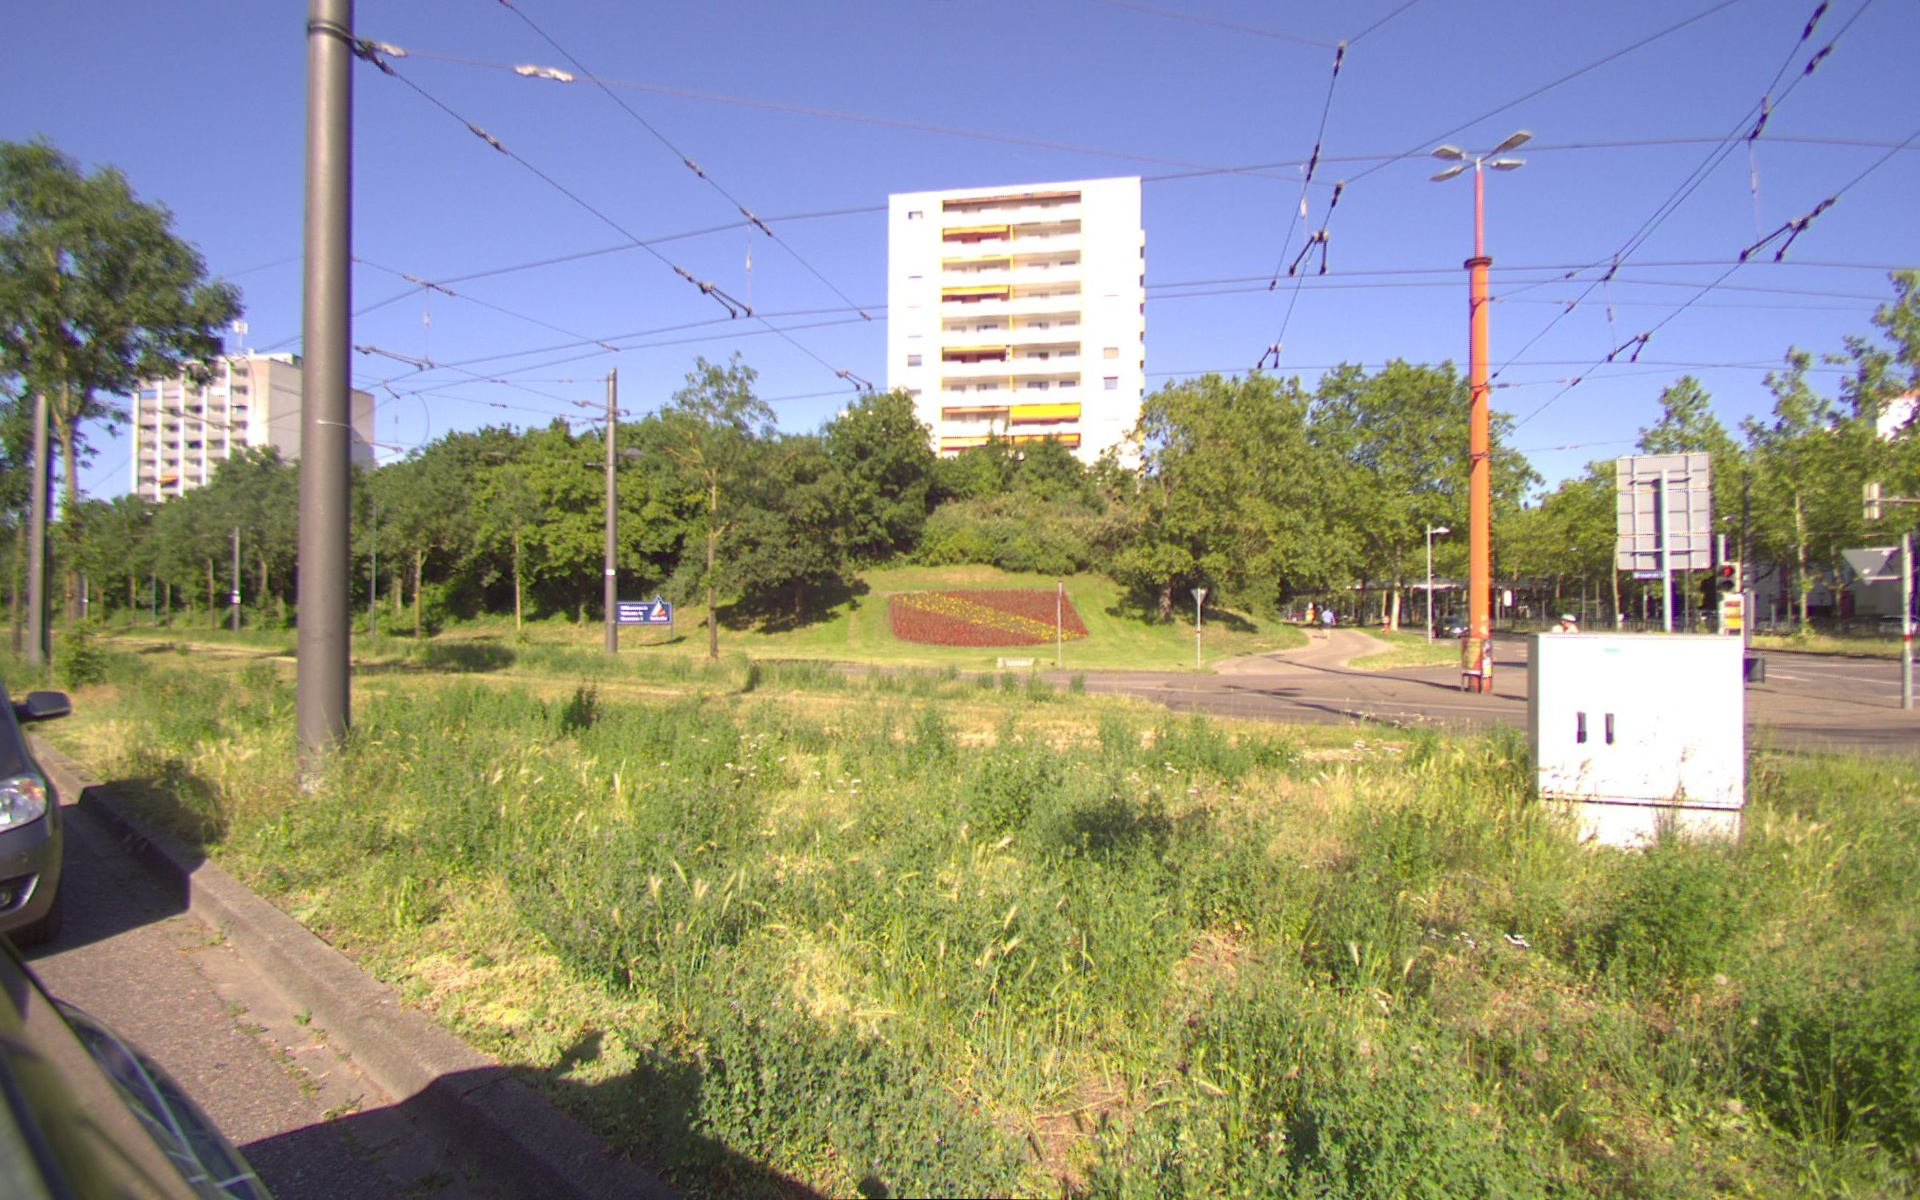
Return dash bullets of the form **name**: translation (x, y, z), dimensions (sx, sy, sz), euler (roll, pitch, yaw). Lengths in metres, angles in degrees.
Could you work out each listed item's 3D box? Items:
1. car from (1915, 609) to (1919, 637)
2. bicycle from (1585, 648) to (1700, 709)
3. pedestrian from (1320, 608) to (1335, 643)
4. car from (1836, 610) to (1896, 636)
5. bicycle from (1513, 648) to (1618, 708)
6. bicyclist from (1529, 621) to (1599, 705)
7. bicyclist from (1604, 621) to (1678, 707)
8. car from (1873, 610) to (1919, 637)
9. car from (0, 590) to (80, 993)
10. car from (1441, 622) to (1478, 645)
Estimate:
- **car**: translation (64.418, 1.498, 65.892), dimensions (3.931, 1.829, 2.006), euler (0, -2, -27)
- **bicycle**: translation (13.367, 1.516, 19.908), dimensions (0.915, 1.095, 1.888), euler (0, -1, -2)
- **pedestrian**: translation (20.678, 1.413, 56.922), dimensions (0.729, 1.949, 0.726), euler (-1, -2, 24)
- **car**: translation (66.029, 1.692, 73.751), dimensions (3.931, 1.829, 2.006), euler (0, -2, -27)
- **bicycle**: translation (12.102, 1.531, 20.310), dimensions (0.915, 1.095, 1.888), euler (0, -1, -2)
- **bicyclist**: translation (12.106, 1.253, 20.293), dimensions (0.920, 1.650, 0.741), euler (0, -1, -1)
- **bicyclist**: translation (13.364, 1.236, 19.875), dimensions (0.920, 1.650, 0.741), euler (0, -1, -1)
- **car**: translation (65.261, 1.635, 69.855), dimensions (3.931, 1.829, 2.006), euler (0, -2, -27)
- **car**: translation (-5.931, 0.795, 5.036), dimensions (4.382, 1.619, 1.754), euler (-1, -2, 41)
- **car**: translation (36.887, 2.465, 74.815), dimensions (1.928, 1.606, 3.882), euler (-1, -1, 20)
